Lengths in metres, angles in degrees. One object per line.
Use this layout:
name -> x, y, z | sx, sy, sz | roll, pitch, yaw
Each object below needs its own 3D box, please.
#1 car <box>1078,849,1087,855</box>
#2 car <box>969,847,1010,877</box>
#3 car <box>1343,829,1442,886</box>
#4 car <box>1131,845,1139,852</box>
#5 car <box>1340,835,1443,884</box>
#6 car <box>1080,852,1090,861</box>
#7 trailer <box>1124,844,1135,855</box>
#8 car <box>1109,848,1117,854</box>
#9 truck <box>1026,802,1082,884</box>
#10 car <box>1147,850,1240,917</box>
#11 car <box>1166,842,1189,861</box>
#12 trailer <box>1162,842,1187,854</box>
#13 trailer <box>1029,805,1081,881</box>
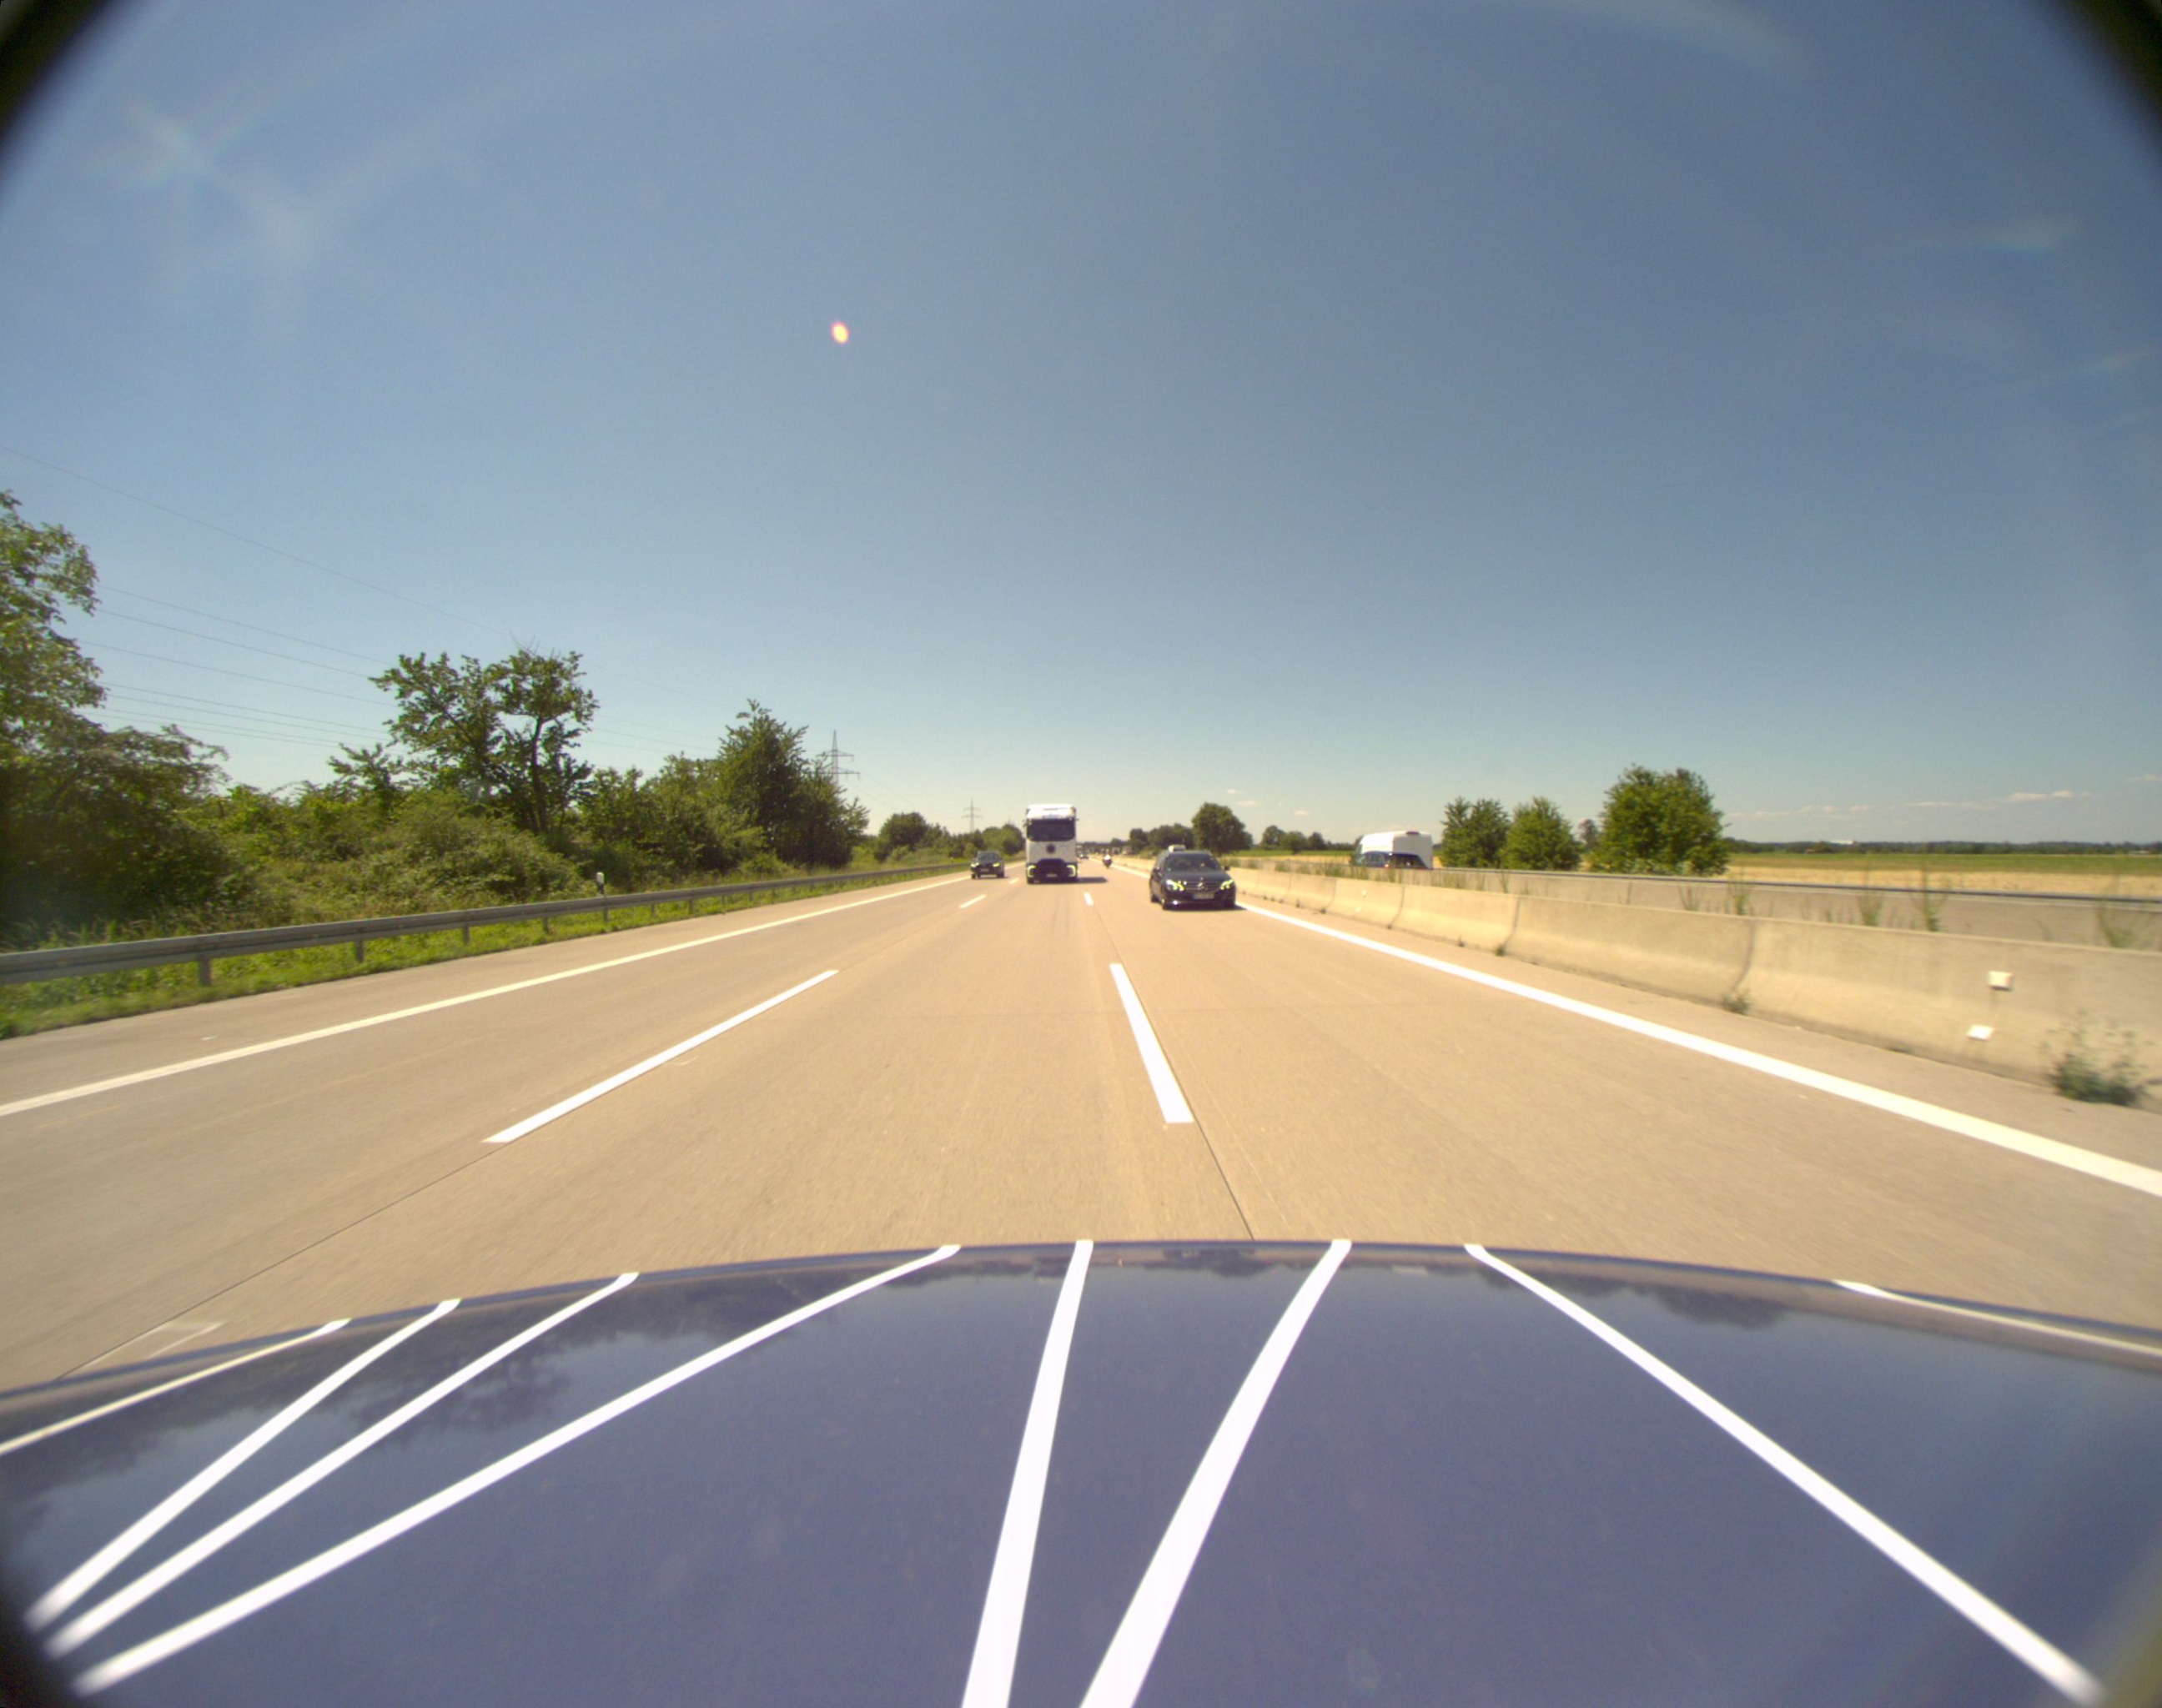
car -> 0.397, -0.565, 215.486 | 1.999, 1.827, 4.814 | -2, 0, -3
car -> -5.815, 0.495, 48.625 | 1.998, 1.772, 4.000 | -2, 0, 1
car -> 15.045, 0.151, 37.128 | 2.218, 2.505, 6.123 | -2, 0, -1
car -> 14.290, -1.473, 201.424 | 1.998, 1.867, 5.183 | -2, 0, 1
car -> 11.327, 0.180, 28.124 | 1.998, 1.608, 4.588 | -2, 0, 1
car -> 0.757, 0.543, 157.013 | 1.999, 1.781, 4.300 | -2, 0, -1
trailer -> 16.973, -1.473, 266.494 | 2.810, 3.662, 13.747 | -2, 0, 0
car -> 9.465, -0.874, 223.219 | 1.999, 1.707, 5.029 | -2, 0, 0
truck -> -1.345, -0.539, 39.206 | 2.588, 3.855, 4.983 | -2, 1, -1
car -> 2.897, 0.696, 20.420 | 1.848, 1.576, 3.939 | -2, 0, -1
car -> 14.305, -0.381, 113.098 | 2.269, 2.772, 7.069 | -2, 0, -2
trailer -> 14.122, -0.936, 115.394 | 2.243, 1.735, 10.542 | 1, 0, -1
trailer -> -1.479, -0.594, 44.479 | 2.588, 3.855, 10.370 | -2, 0, -1
